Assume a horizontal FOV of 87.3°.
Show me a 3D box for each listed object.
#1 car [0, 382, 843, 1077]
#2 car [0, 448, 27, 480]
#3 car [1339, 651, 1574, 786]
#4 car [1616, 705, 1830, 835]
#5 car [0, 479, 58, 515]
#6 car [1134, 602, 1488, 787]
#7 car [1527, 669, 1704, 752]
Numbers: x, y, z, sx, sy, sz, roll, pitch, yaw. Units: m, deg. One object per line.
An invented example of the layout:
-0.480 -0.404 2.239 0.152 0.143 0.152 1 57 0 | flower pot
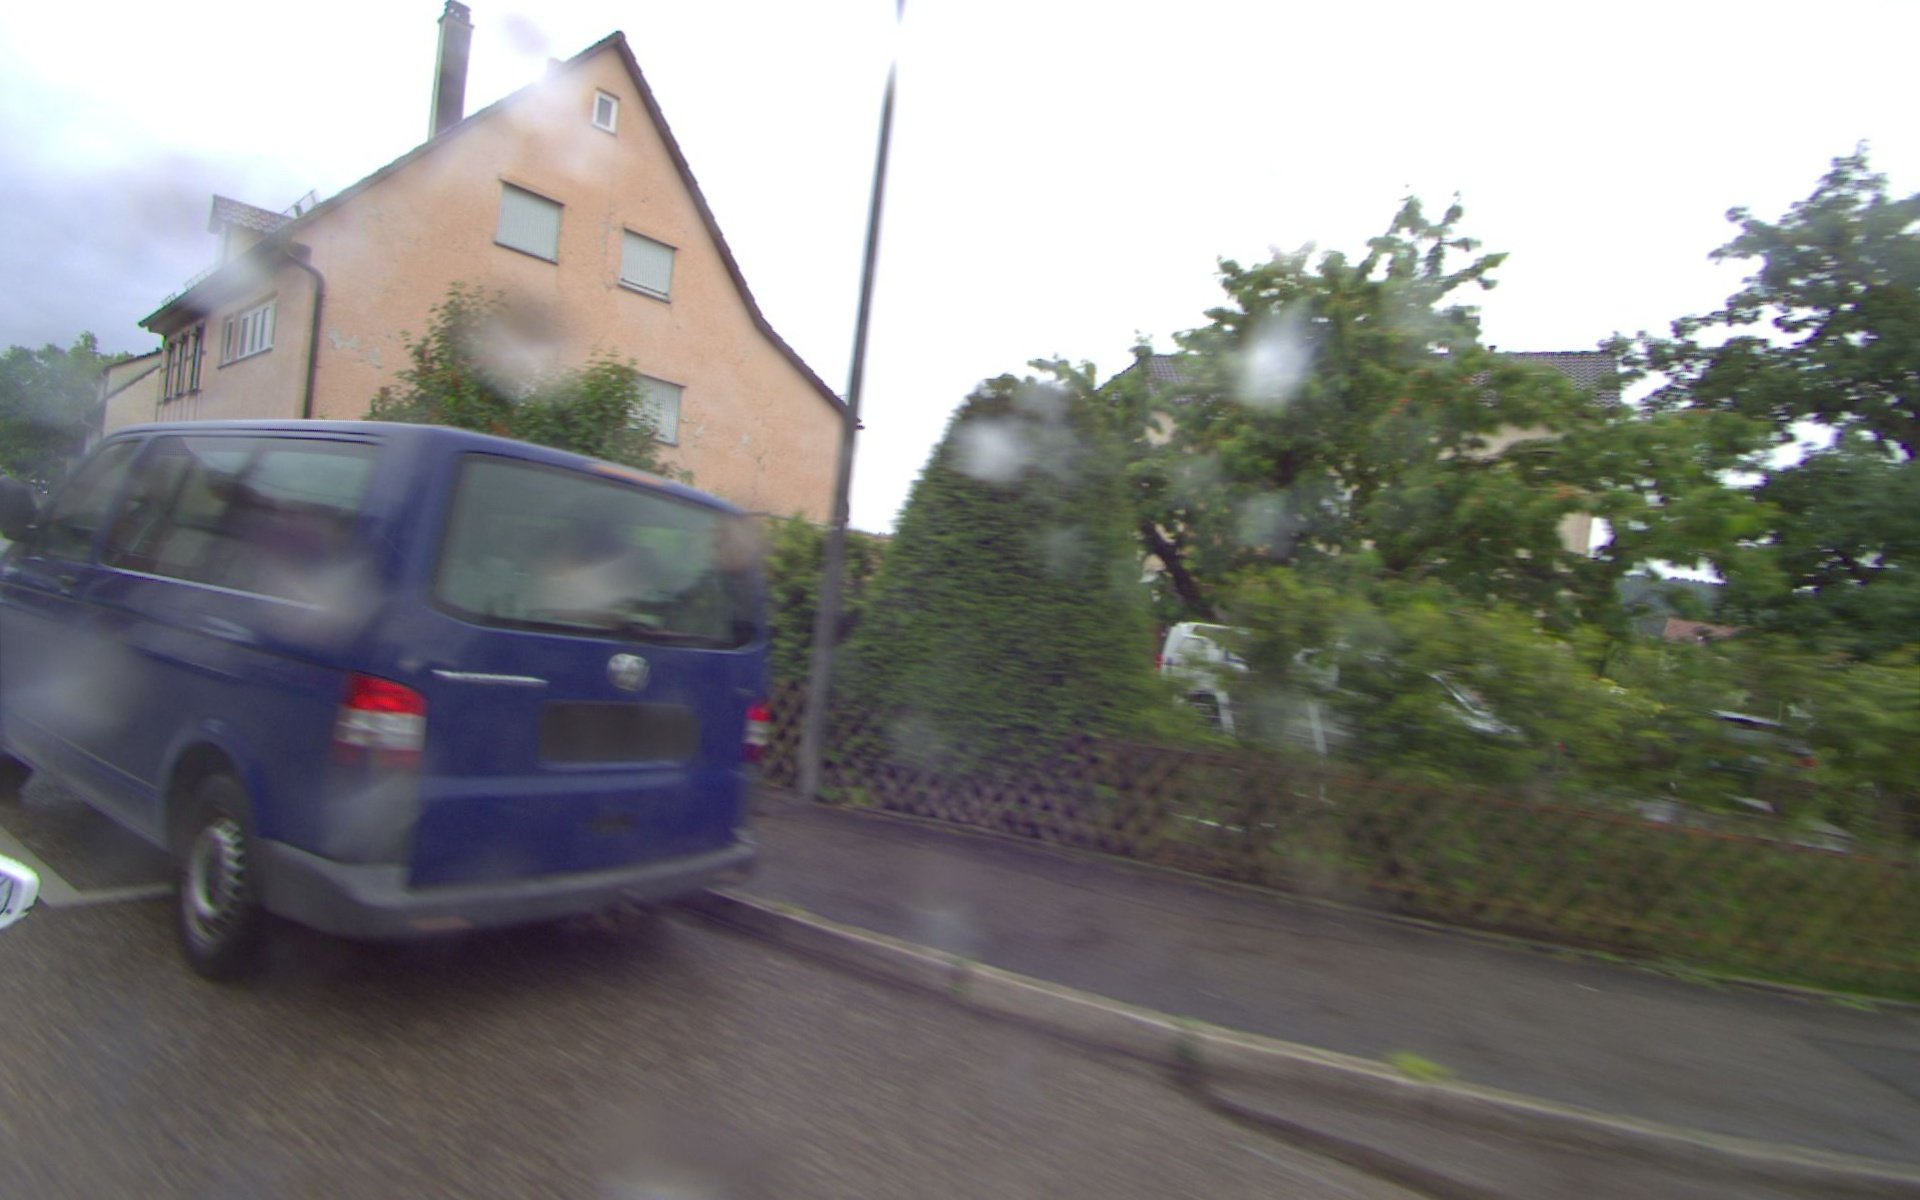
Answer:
-3.087 0.232 4.912 4.717 1.924 1.933 7 -2 35 | car
-51.402 -7.337 54.152 1.632 1.448 3.632 7 0 -43 | car
9.157 2.128 18.701 3.578 1.840 1.659 7 -1 29 | car
14.737 3.197 19.741 1.858 1.692 3.999 7 1 16 | car
-40.827 -4.439 43.393 1.740 1.414 3.972 1 4 -26 | car
5.755 1.473 16.731 5.094 2.108 1.951 8 -1 27 | car
22.737 3.804 35.161 4.750 2.077 1.951 7 -1 26 | car
